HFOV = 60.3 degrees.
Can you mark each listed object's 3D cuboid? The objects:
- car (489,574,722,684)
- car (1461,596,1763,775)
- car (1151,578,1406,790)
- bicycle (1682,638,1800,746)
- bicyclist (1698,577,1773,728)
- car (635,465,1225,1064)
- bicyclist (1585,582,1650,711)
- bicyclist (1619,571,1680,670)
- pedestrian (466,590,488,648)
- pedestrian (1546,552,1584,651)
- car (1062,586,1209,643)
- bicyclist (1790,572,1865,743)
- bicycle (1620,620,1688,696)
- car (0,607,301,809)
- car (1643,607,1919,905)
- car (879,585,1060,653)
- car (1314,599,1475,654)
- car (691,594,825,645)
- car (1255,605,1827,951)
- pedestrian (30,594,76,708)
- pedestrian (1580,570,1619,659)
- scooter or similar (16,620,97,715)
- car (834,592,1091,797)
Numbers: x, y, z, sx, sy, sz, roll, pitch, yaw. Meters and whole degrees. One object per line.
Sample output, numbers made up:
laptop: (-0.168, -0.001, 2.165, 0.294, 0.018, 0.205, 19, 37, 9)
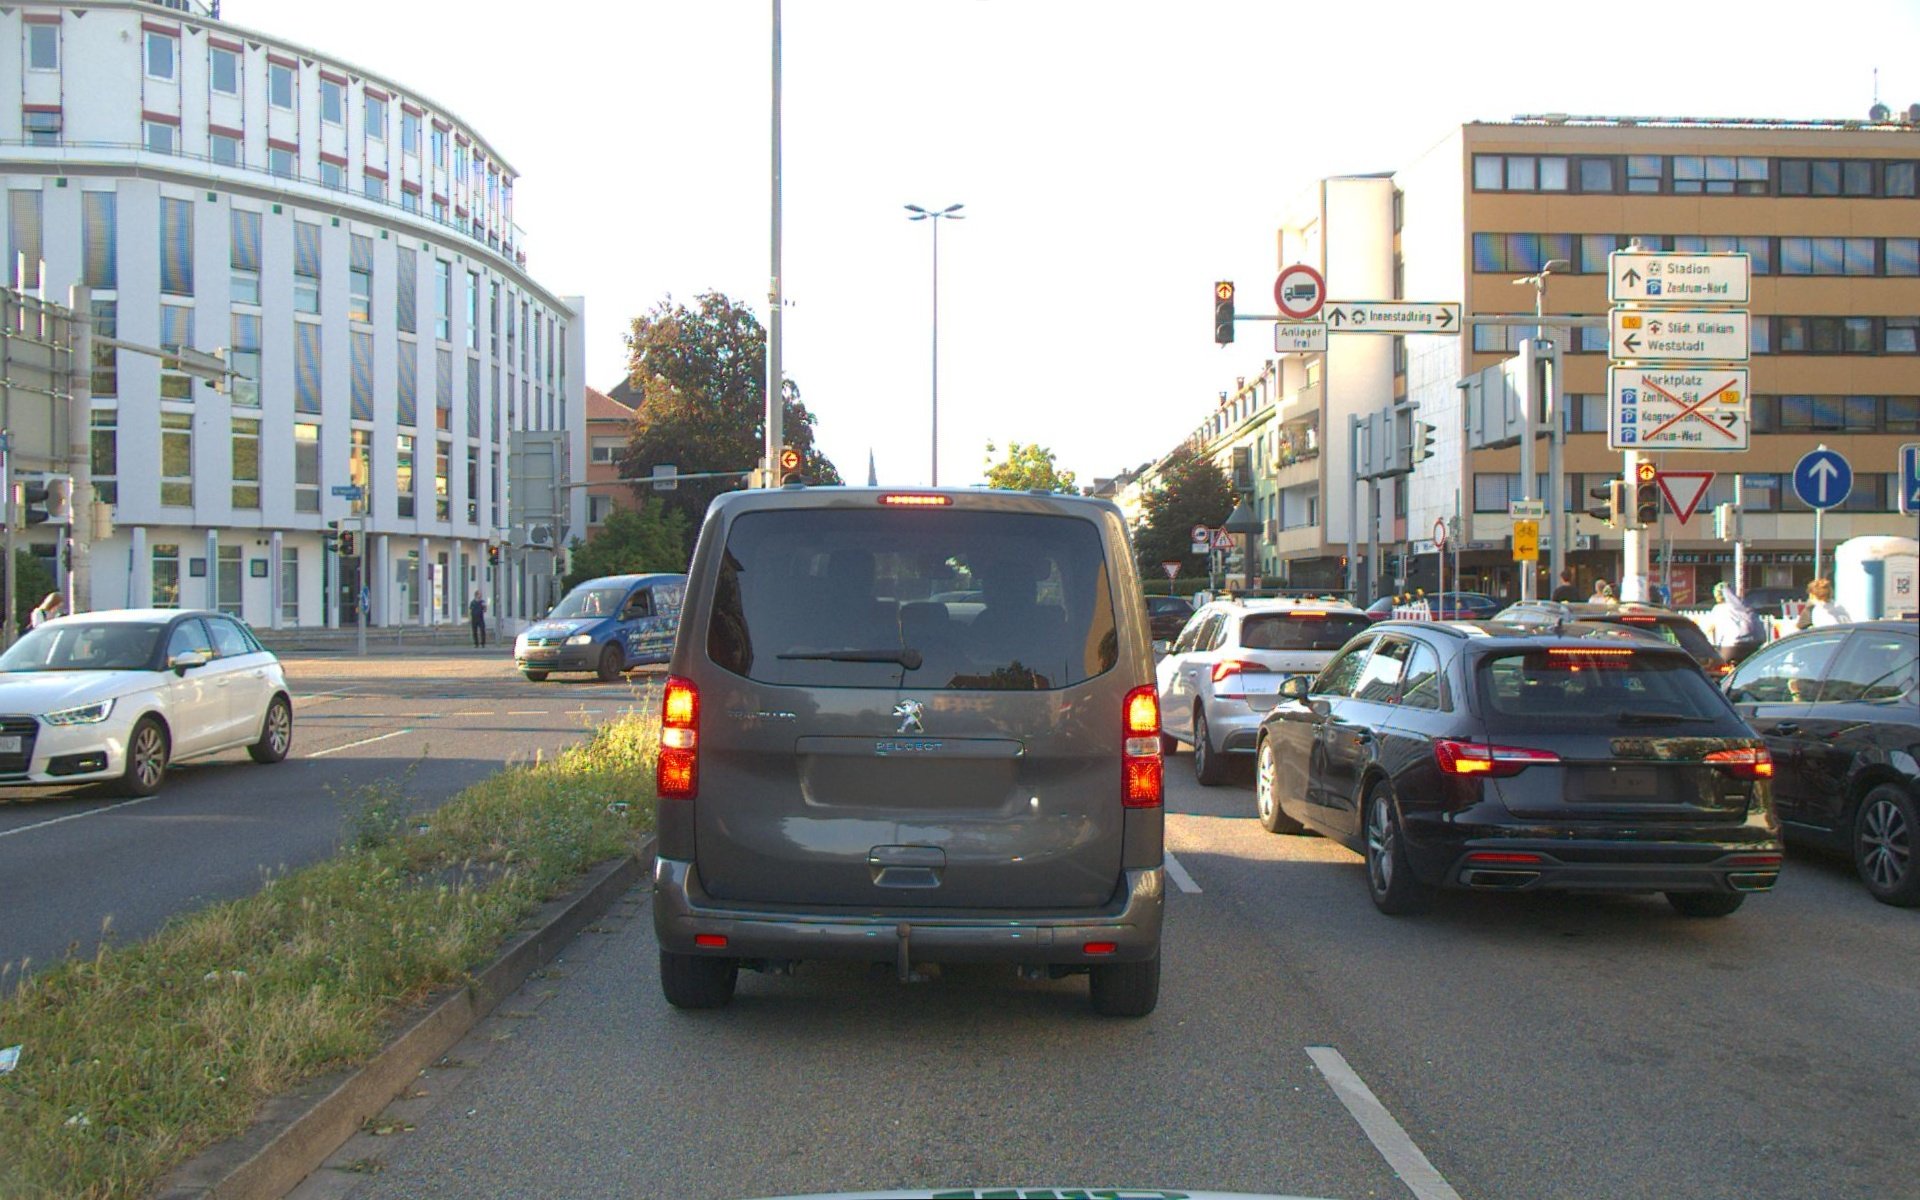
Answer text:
car: (-6.350, 0.474, 30.132, 1.954, 1.849, 4.225, 0, 0, 26)
car: (5.940, 0.709, 15.450, 1.474, 1.474, 3.304, 0, 0, -1)
car: (2.728, 0.661, 14.917, 1.498, 1.641, 3.744, 1, 0, -1)
bicycle: (8.140, 0.932, 17.306, 0.329, 1.025, 1.855, 0, 0, -1)
bicyclist: (8.144, 0.540, 17.389, 0.432, 1.552, 0.725, 0, 0, -1)
car: (-0.126, 0.526, 7.593, 1.868, 1.896, 4.525, 1, 0, -1)
bicyclist: (8.072, 0.562, 20.324, 0.503, 1.552, 0.725, 0, 0, -1)
bicyclist: (11.501, 0.335, 27.612, 0.605, 1.616, 0.814, 1, 1, -4)
pedestrian: (-14.800, 0.578, 50.680, 0.615, 1.752, 0.669, 0, 0, -15)
pedestrian: (11.612, 0.027, 31.754, 0.558, 1.866, 0.487, 0, 0, 1)
car: (5.152, 0.416, 48.885, 4.039, 1.622, 1.793, 0, 0, -6)
bicyclist: (7.981, 0.519, 15.228, 0.432, 1.552, 0.482, 0, 0, -1)
bicycle: (11.529, 0.953, 27.510, 0.365, 1.181, 1.498, 1, 1, -4)
car: (-7.069, 0.803, 13.806, 1.657, 1.412, 3.686, -1, 0, 0)
car: (5.630, 0.811, 9.740, 1.600, 1.474, 3.744, 1, 0, -1)
car: (0.272, 0.403, 38.191, 4.207, 1.467, 1.676, -1, 0, -43)
car: (11.813, 0.695, 45.023, 3.916, 1.443, 1.677, 0, 0, -12)
car: (-5.704, 0.539, 47.017, 3.709, 1.396, 1.648, 0, 0, -7)
car: (2.895, 0.777, 9.263, 1.647, 1.446, 4.213, 1, 0, -1)
pedestrian: (-12.264, 0.681, 22.377, 0.466, 1.532, 0.334, 0, 0, -13)
pedestrian: (12.374, 0.275, 32.004, 0.589, 1.700, 0.454, 0, 0, 1)
scooter or similar: (-12.181, 0.905, 22.313, 0.877, 1.255, 0.370, 0, 0, -12)
car: (-0.008, 0.713, 14.616, 1.953, 1.557, 3.999, 0, 0, -1)
